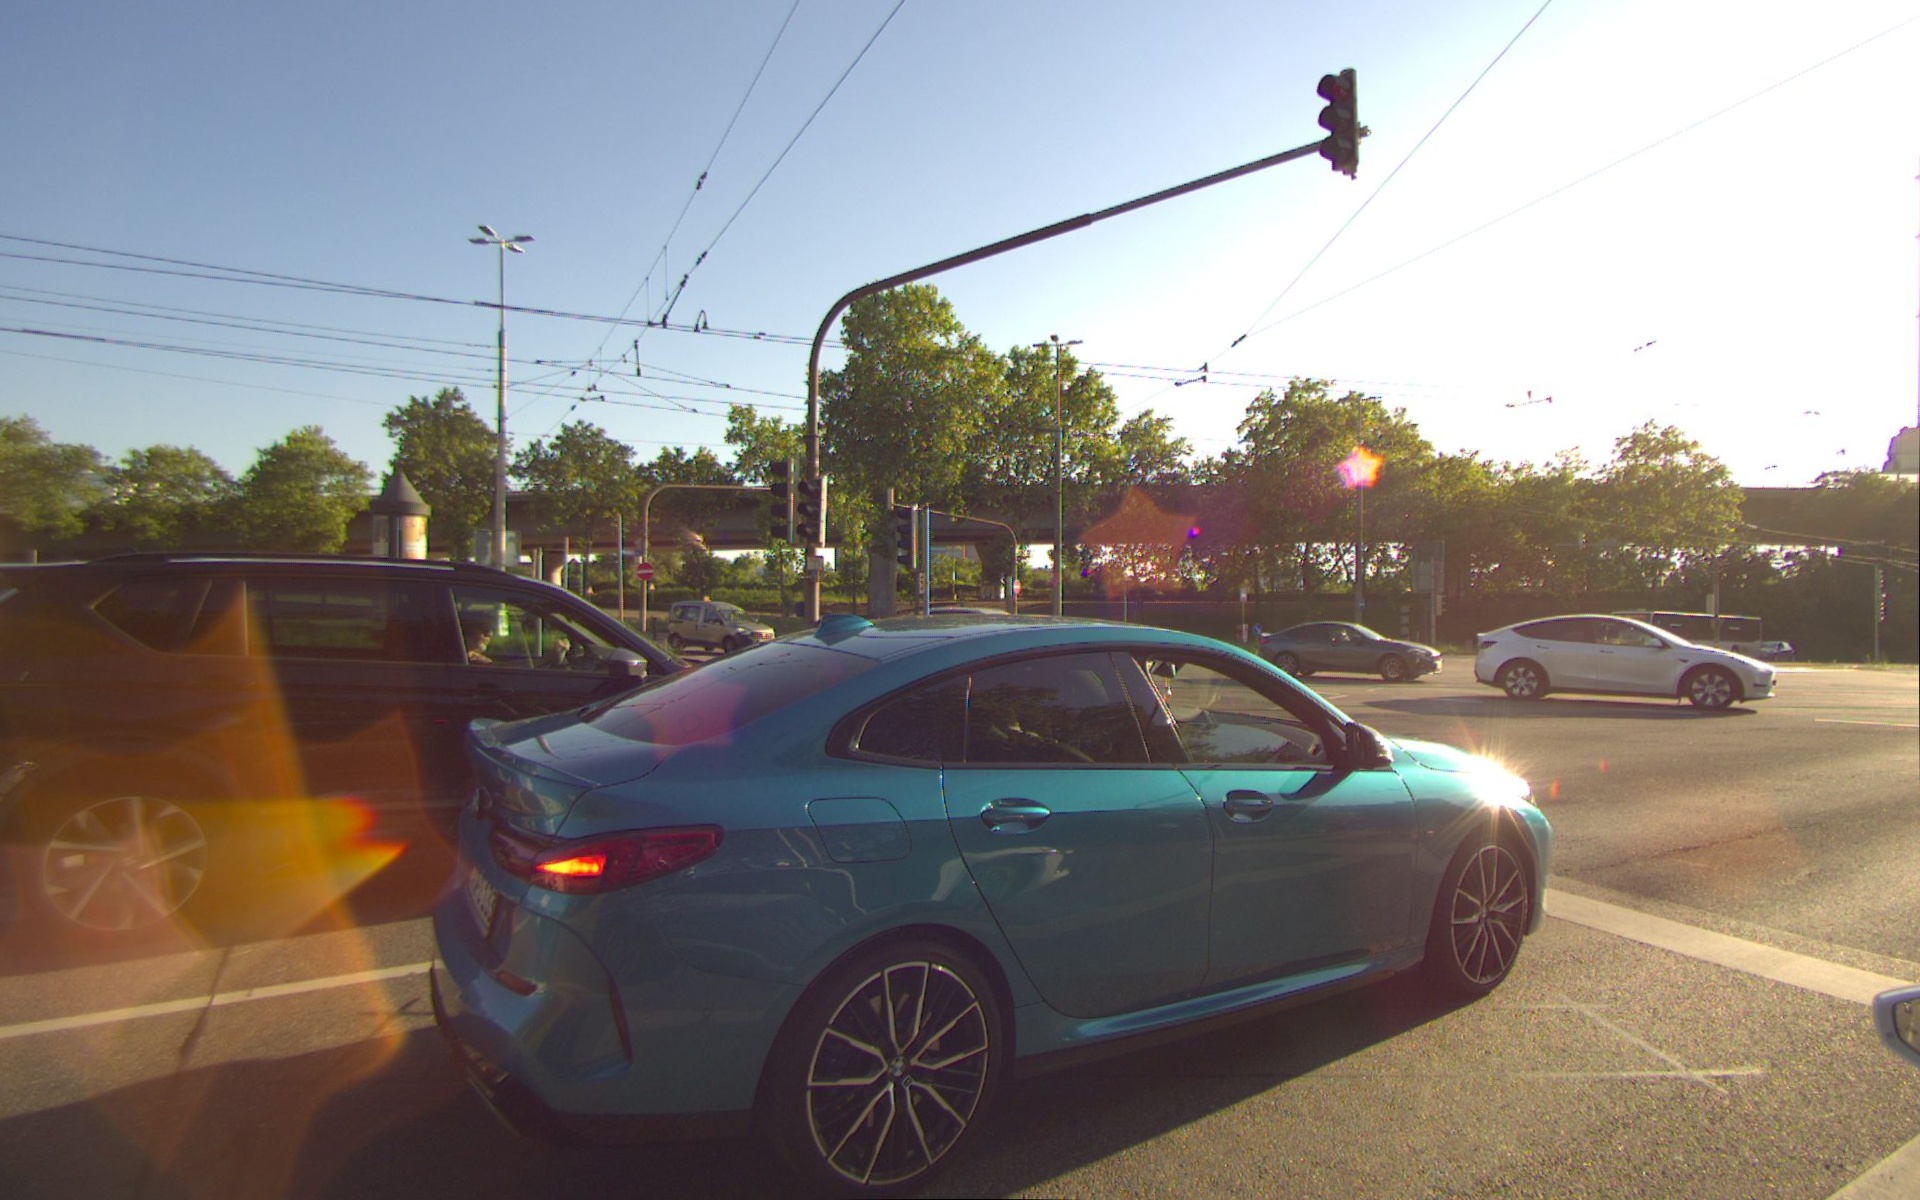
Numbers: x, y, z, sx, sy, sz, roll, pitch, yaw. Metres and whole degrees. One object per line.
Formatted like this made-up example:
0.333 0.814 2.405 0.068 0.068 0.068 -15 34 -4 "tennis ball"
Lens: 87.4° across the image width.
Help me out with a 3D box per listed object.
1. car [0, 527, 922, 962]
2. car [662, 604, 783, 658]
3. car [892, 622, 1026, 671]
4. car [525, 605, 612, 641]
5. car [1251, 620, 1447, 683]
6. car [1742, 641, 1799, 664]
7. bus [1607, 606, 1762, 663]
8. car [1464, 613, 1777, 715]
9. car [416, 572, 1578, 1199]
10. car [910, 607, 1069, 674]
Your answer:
-2.649 0.610 5.601 4.567 1.702 1.806 1 -1 -29 "car"
-8.292 1.030 34.911 4.344 1.701 1.687 1 0 37 "car"
-0.064 1.479 32.961 4.216 1.382 1.618 1 0 35 "car"
-18.005 1.026 46.139 4.341 1.546 1.618 1 0 36 "car"
9.939 1.265 25.848 4.423 1.387 1.686 1 -1 39 "car"
54.982 3.545 68.120 3.959 1.438 1.600 1 0 -29 "car"
45.607 2.226 63.048 12.756 3.171 2.534 3 -2 -28 "bus"
12.151 1.088 18.691 4.695 1.595 1.686 1 -1 40 "car"
0.397 0.742 3.767 4.162 1.485 1.704 1 -1 -33 "car"
0.766 1.058 27.836 4.219 1.653 1.687 1 0 38 "car"
